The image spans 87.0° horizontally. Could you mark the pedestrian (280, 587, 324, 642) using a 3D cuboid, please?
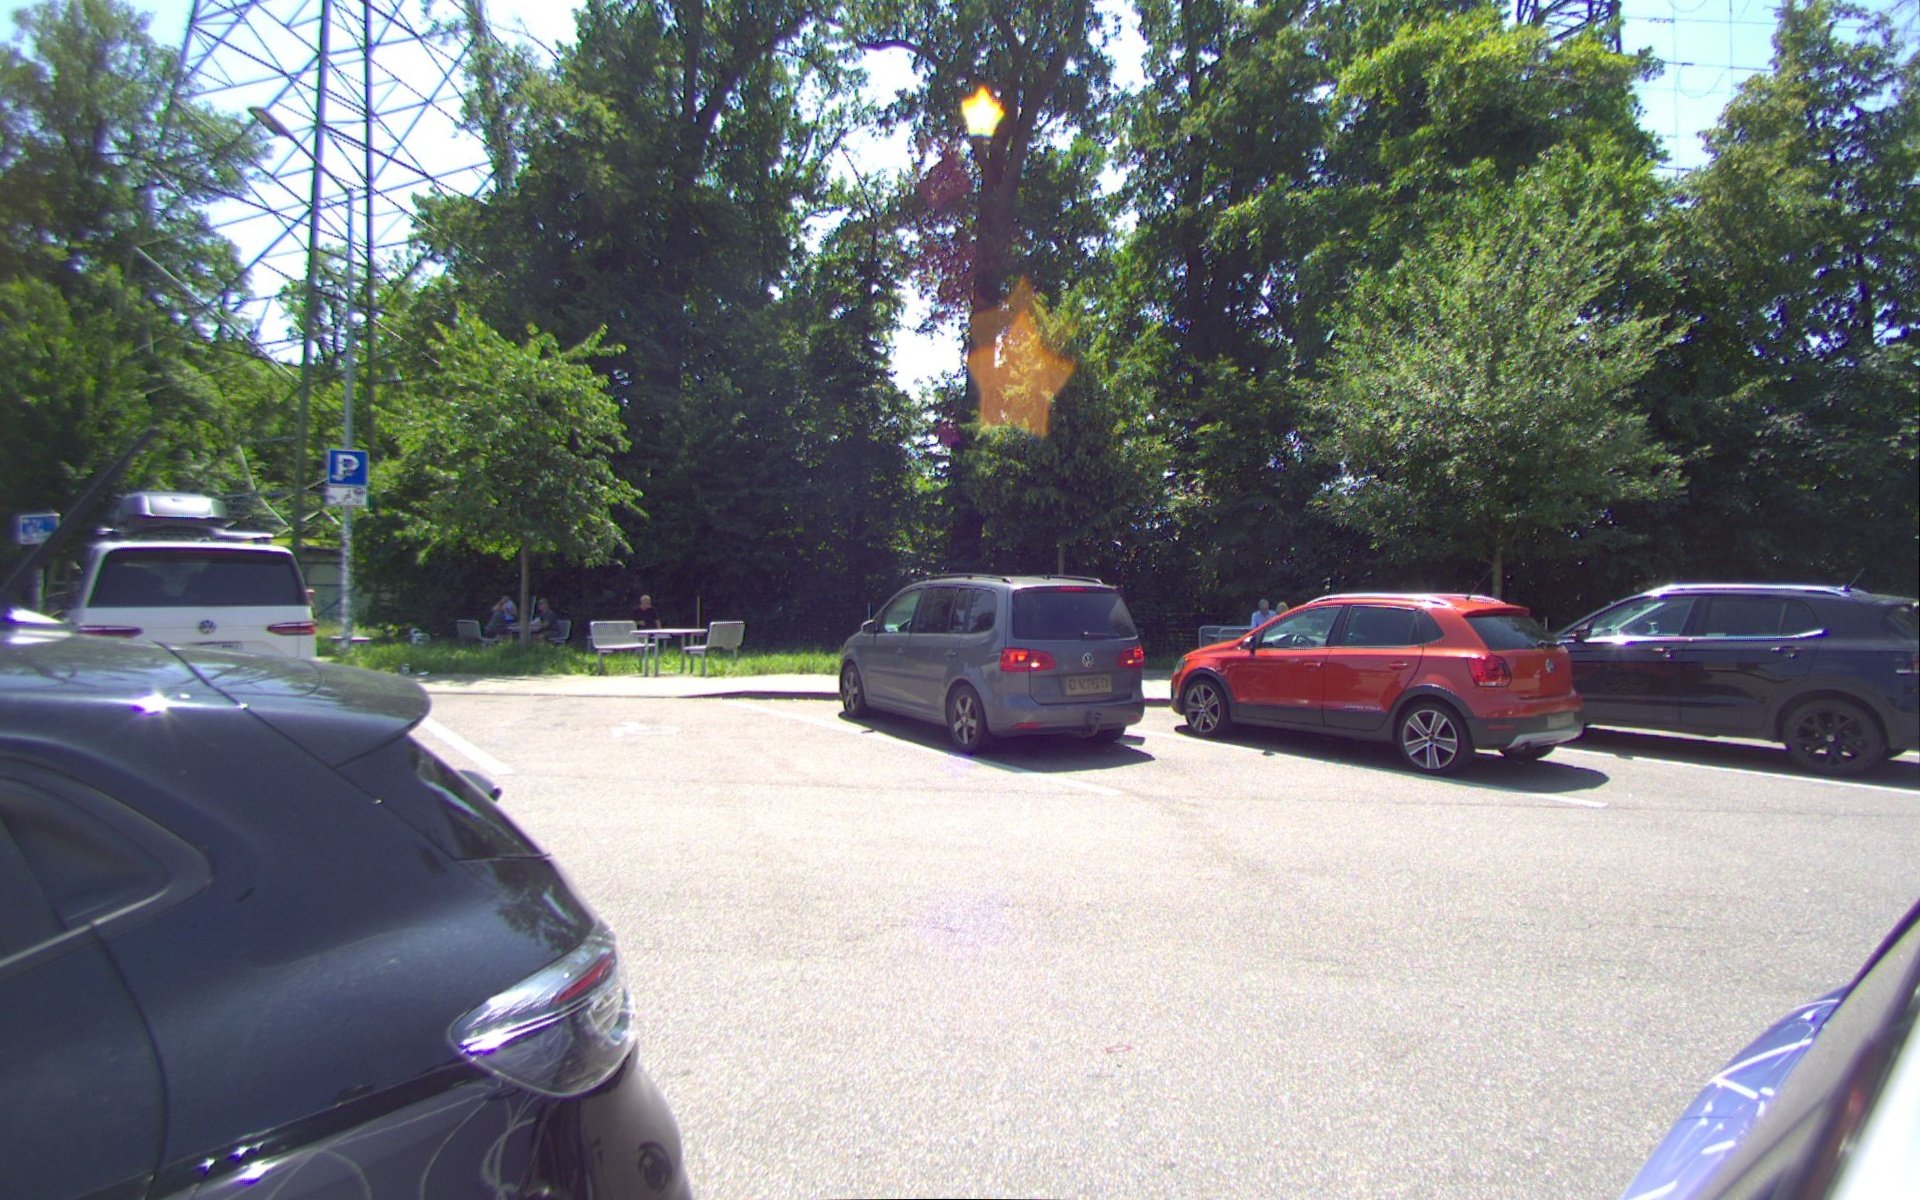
[{"bbox_3d":[-16.860,0.361,25.924,0.599,1.391,0.706,1,-1,14],"label":"pedestrian"}]

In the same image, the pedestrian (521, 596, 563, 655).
[{"bbox_3d":[-9.741,0.585,23.562,0.722,1.343,0.669,1,-1,-39],"label":"pedestrian"}]

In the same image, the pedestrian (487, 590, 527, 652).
[{"bbox_3d":[-10.973,0.493,24.498,0.722,1.478,0.669,1,-1,-39],"label":"pedestrian"}]

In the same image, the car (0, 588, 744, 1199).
[{"bbox_3d":[-2.151,0.721,0.573,1.615,1.503,3.706,0,-1,44],"label":"car"}]

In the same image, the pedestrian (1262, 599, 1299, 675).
[{"bbox_3d":[5.662,0.644,17.883,0.495,1.316,0.491,1,-1,0],"label":"pedestrian"}]

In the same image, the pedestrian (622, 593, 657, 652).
[{"bbox_3d":[-6.751,0.466,21.325,0.550,1.229,0.599,1,-1,-1],"label":"pedestrian"}]

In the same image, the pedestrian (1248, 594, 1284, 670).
[{"bbox_3d":[5.744,0.593,19.007,0.495,1.393,0.491,1,-1,0],"label":"pedestrian"}]

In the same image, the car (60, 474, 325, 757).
[{"bbox_3d":[-8.090,0.092,10.611,1.885,2.353,4.089,0,1,-40],"label":"car"}]

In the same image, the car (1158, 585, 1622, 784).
[{"bbox_3d":[3.836,0.609,9.638,1.604,1.476,3.810,0,1,-34],"label":"car"}]

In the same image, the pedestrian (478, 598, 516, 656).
[{"bbox_3d":[-10.460,0.600,22.864,0.630,1.287,0.579,1,-1,-39],"label":"pedestrian"}]

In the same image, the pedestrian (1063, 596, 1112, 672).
[{"bbox_3d":[2.113,0.562,16.836,0.660,1.235,0.682,1,-2,-5],"label":"pedestrian"}]

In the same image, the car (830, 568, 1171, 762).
[{"bbox_3d":[0.200,0.504,10.540,1.717,1.611,3.961,0,1,-30],"label":"car"}]

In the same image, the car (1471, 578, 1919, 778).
[{"bbox_3d":[7.214,0.580,9.662,1.727,1.566,3.806,0,1,-39],"label":"car"}]
